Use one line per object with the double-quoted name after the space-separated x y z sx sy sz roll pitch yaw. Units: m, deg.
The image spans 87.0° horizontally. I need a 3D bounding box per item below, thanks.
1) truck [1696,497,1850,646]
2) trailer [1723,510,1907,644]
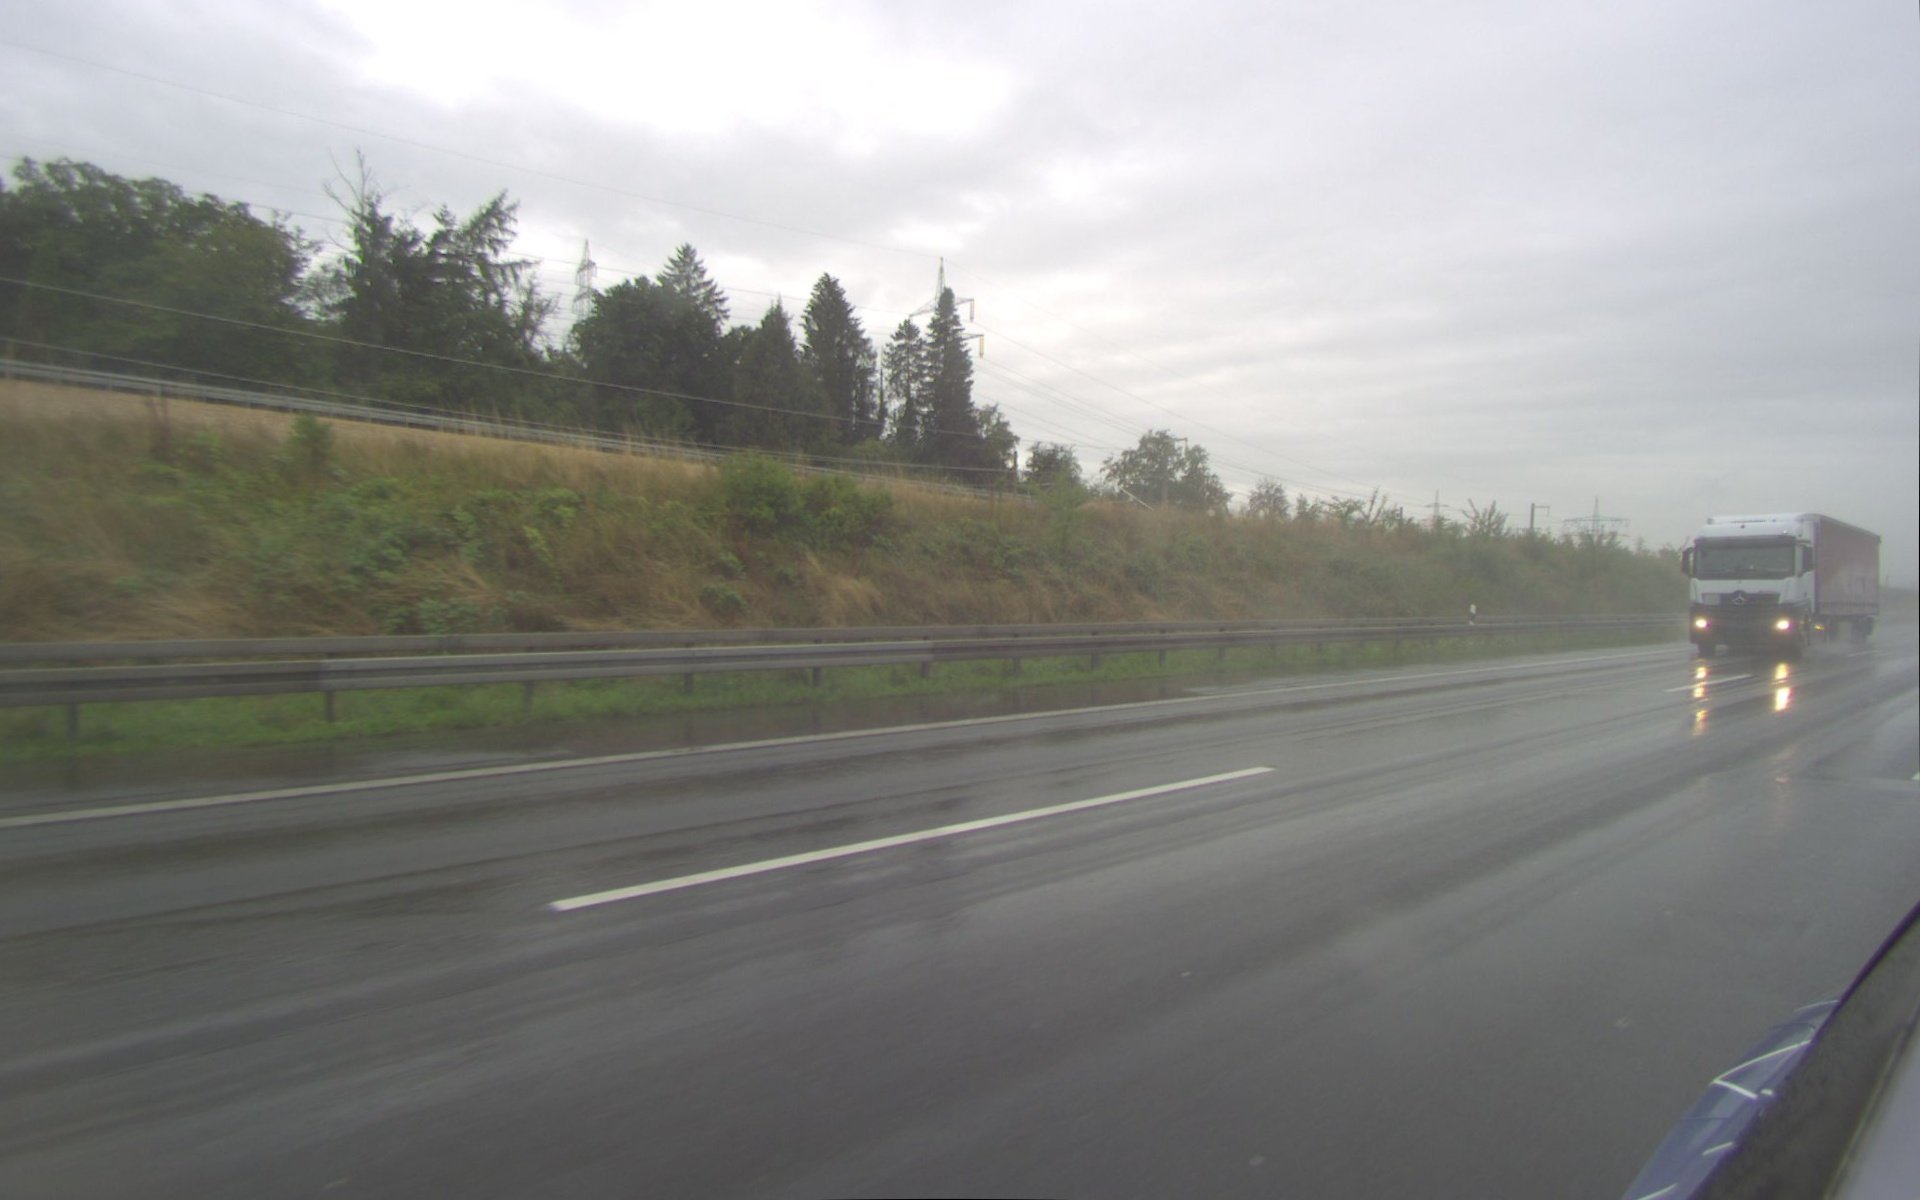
23.866 -0.733 29.607 6.090 3.938 2.456 1 0 -41 "truck"
29.986 -0.591 35.014 16.254 3.813 2.484 1 0 -41 "trailer"
